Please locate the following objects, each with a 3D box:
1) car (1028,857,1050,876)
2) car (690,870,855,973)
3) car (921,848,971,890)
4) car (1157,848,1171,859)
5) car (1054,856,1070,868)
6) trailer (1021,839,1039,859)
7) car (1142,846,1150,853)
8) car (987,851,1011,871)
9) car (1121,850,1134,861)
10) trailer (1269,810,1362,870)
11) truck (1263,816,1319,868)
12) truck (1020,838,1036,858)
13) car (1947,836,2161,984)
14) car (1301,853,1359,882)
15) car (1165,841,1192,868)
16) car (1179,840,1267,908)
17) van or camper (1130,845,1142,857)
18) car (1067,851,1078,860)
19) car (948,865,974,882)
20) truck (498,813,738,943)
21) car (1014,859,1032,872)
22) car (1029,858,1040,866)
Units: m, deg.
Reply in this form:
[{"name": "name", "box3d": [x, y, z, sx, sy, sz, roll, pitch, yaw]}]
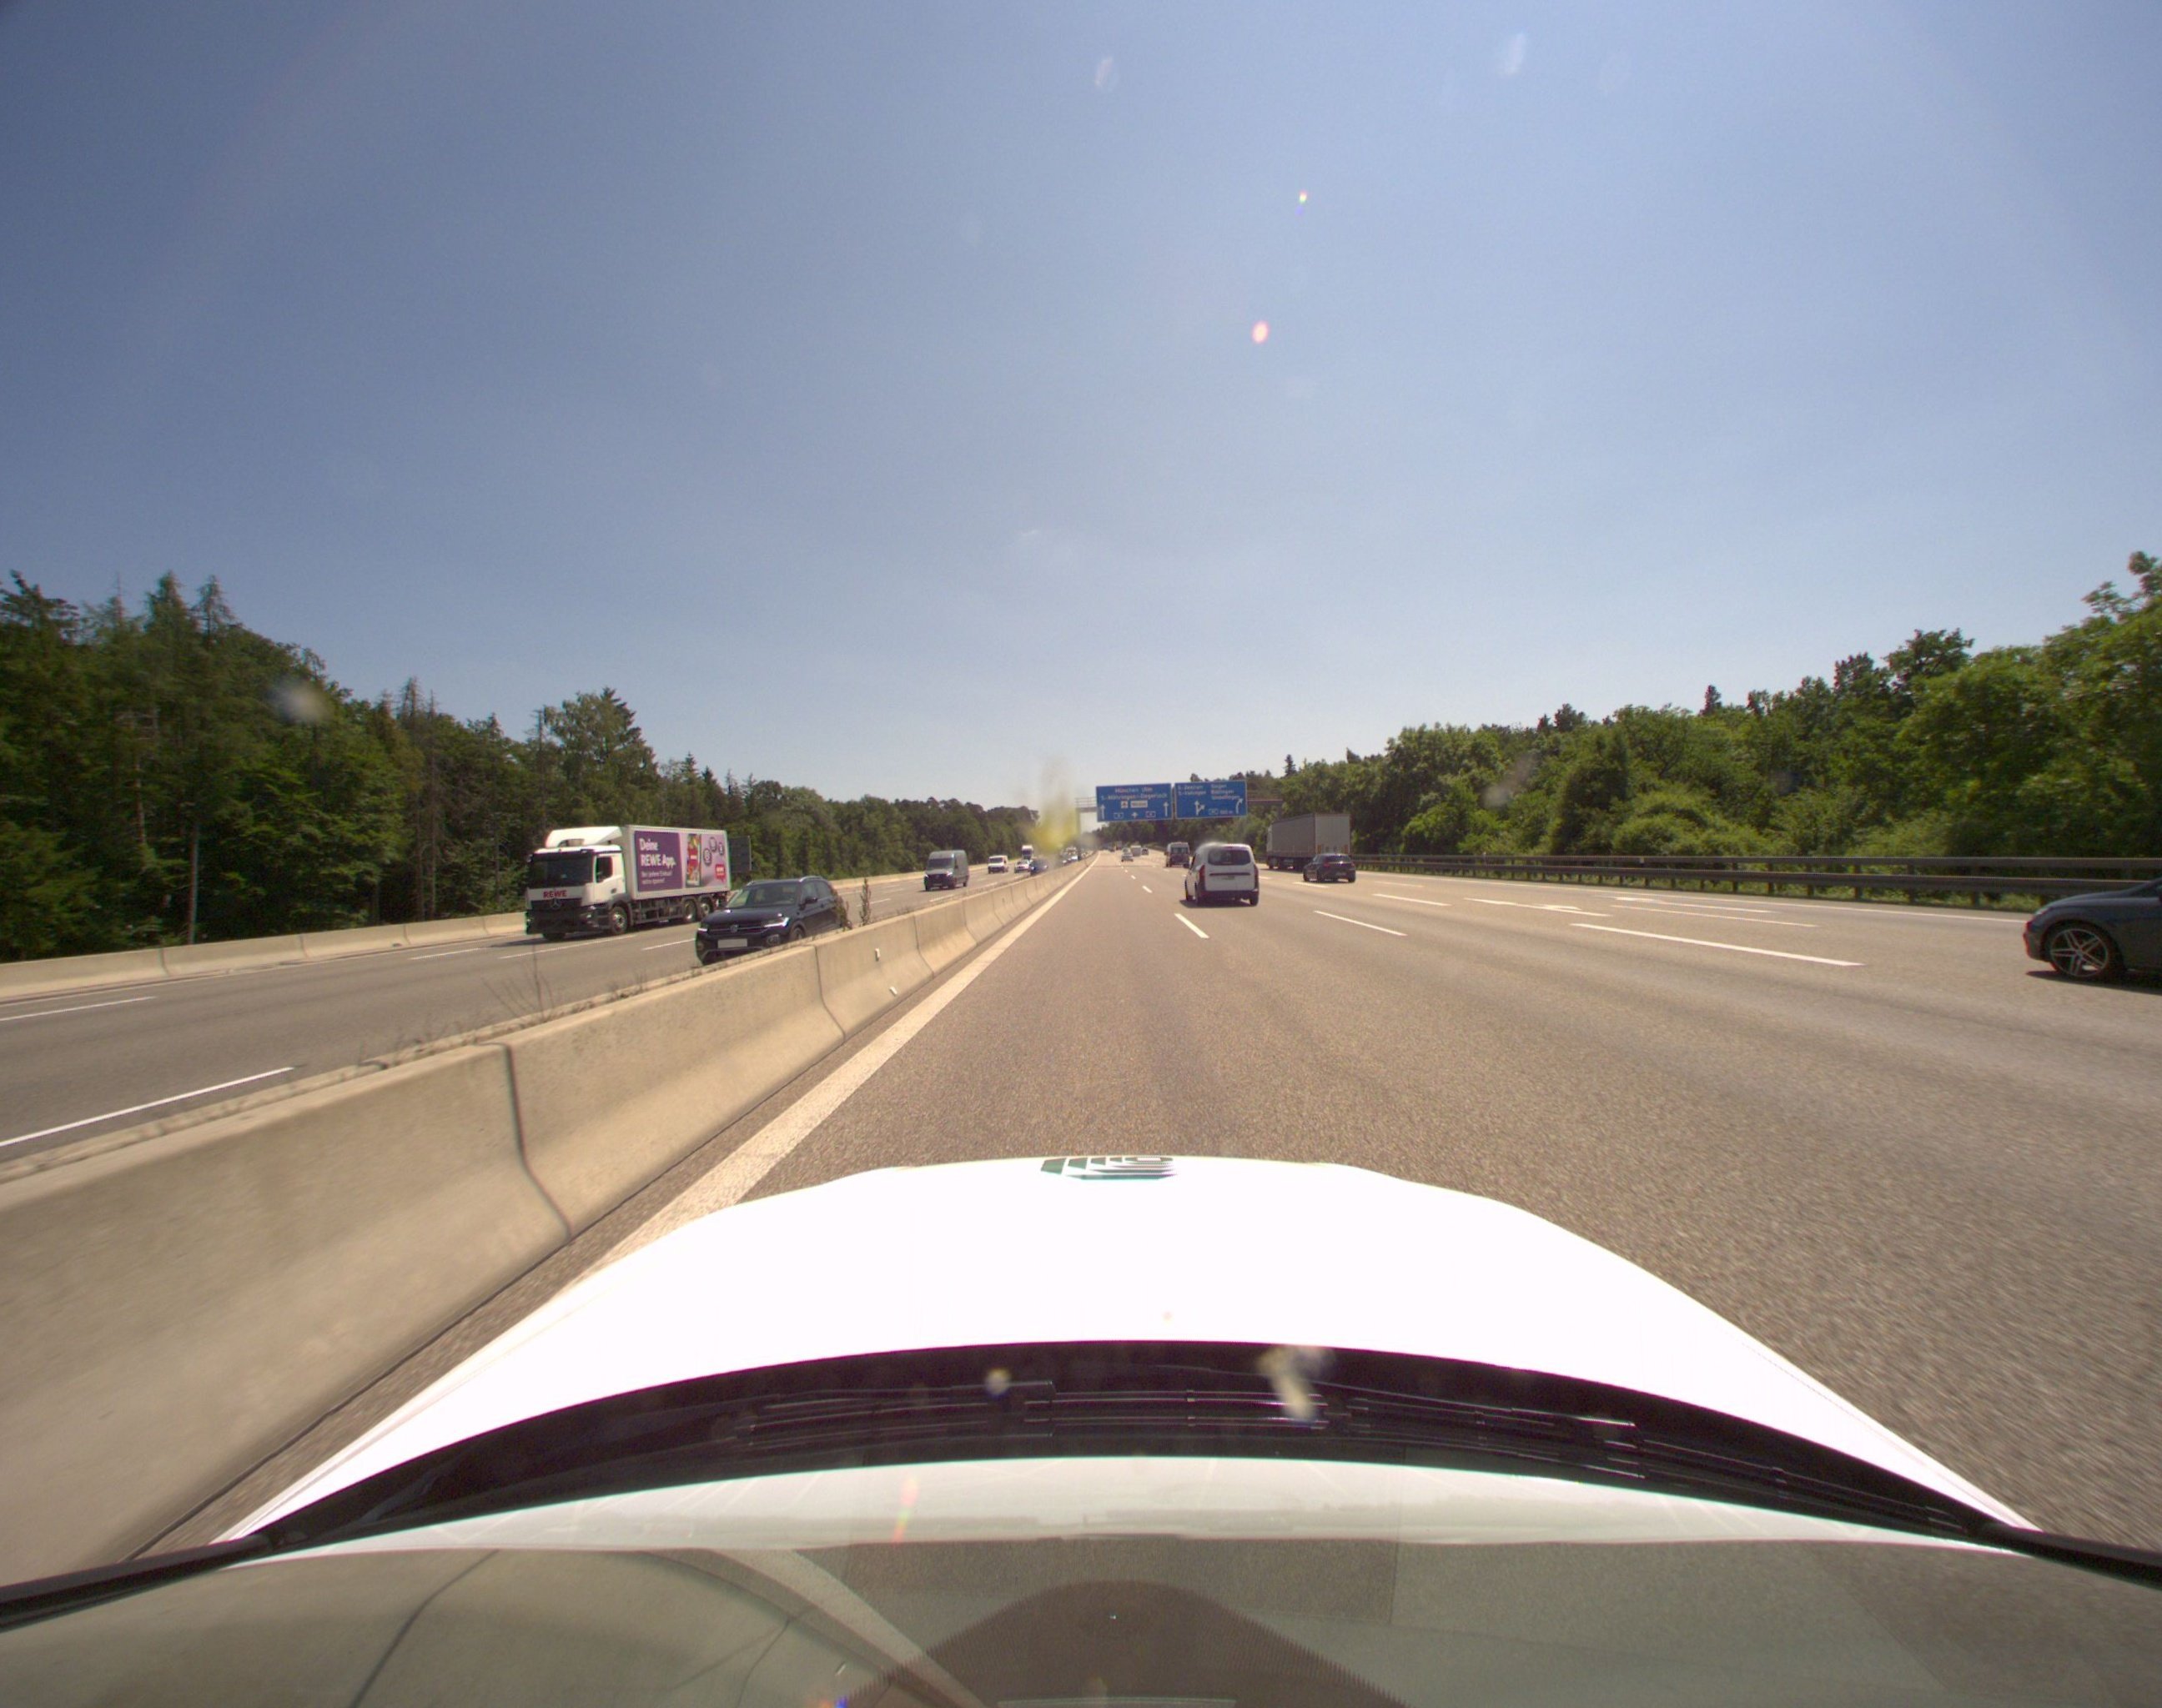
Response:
[{"name": "car", "box3d": [-4.020, 1.174, 78.107, 1.698, 1.662, 3.761, -2, 0, 2]}, {"name": "car", "box3d": [-5.914, 1.213, 16.121, 1.608, 1.662, 3.851, -3, 0, 2]}, {"name": "car", "box3d": [-9.179, 0.932, 56.002, 1.923, 2.607, 7.233, -3, 0, 2]}, {"name": "car", "box3d": [13.263, -0.047, 130.012, 1.811, 1.640, 4.002, -3, 0, 2]}, {"name": "car", "box3d": [-2.643, 1.090, 116.722, 1.863, 1.606, 5.231, -4, 0, 2]}, {"name": "trailer", "box3d": [-11.791, -1.140, 188.785, 2.744, 4.246, 13.723, -3, -1, 2]}, {"name": "car", "box3d": [17.427, -1.201, 217.624, 1.814, 1.859, 4.002, -3, 0, 2]}, {"name": "car", "box3d": [-10.482, 0.919, 104.545, 1.923, 2.413, 6.628, -5, -1, 2]}, {"name": "car", "box3d": [7.370, 0.190, 130.233, 1.836, 1.629, 4.555, -3, -1, 2]}, {"name": "trailer", "box3d": [17.255, -0.973, 61.270, 3.276, 3.930, 13.894, -1, 0, 1]}, {"name": "truck", "box3d": [17.464, -0.999, 68.185, 3.242, 4.106, 5.990, -1, 0, 1]}, {"name": "truck", "box3d": [-11.952, -1.233, 183.725, 2.750, 4.220, 6.380, -3, -1, 2]}, {"name": "car", "box3d": [11.295, 0.540, 7.577, 1.637, 1.438, 4.636, -1, 0, 1]}, {"name": "car", "box3d": [12.091, 0.633, 39.789, 1.664, 1.273, 4.292, -1, 0, 2]}, {"name": "car", "box3d": [10.158, 0.031, 85.098, 2.135, 2.652, 5.712, -3, 0, 2]}, {"name": "car", "box3d": [4.262, 0.584, 25.176, 1.853, 1.826, 4.612, -3, -1, 0]}, {"name": "van or camper", "box3d": [13.314, -0.737, 197.385, 2.635, 2.539, 6.504, -3, -1, 2]}, {"name": "car", "box3d": [-1.578, 0.299, 158.906, 1.805, 1.673, 4.478, -3, 0, 2]}, {"name": "car", "box3d": [-11.429, 1.801, 77.593, 1.672, 1.444, 4.023, -3, 0, 1]}, {"name": "truck", "box3d": [-16.676, 0.815, 30.635, 2.709, 3.939, 10.239, -3, -1, 2]}, {"name": "car", "box3d": [-7.024, 1.385, 98.539, 1.672, 1.444, 4.528, -4, 0, 2]}, {"name": "car", "box3d": [-9.178, 1.508, 161.943, 1.657, 1.455, 3.841, -4, 0, 2]}]
